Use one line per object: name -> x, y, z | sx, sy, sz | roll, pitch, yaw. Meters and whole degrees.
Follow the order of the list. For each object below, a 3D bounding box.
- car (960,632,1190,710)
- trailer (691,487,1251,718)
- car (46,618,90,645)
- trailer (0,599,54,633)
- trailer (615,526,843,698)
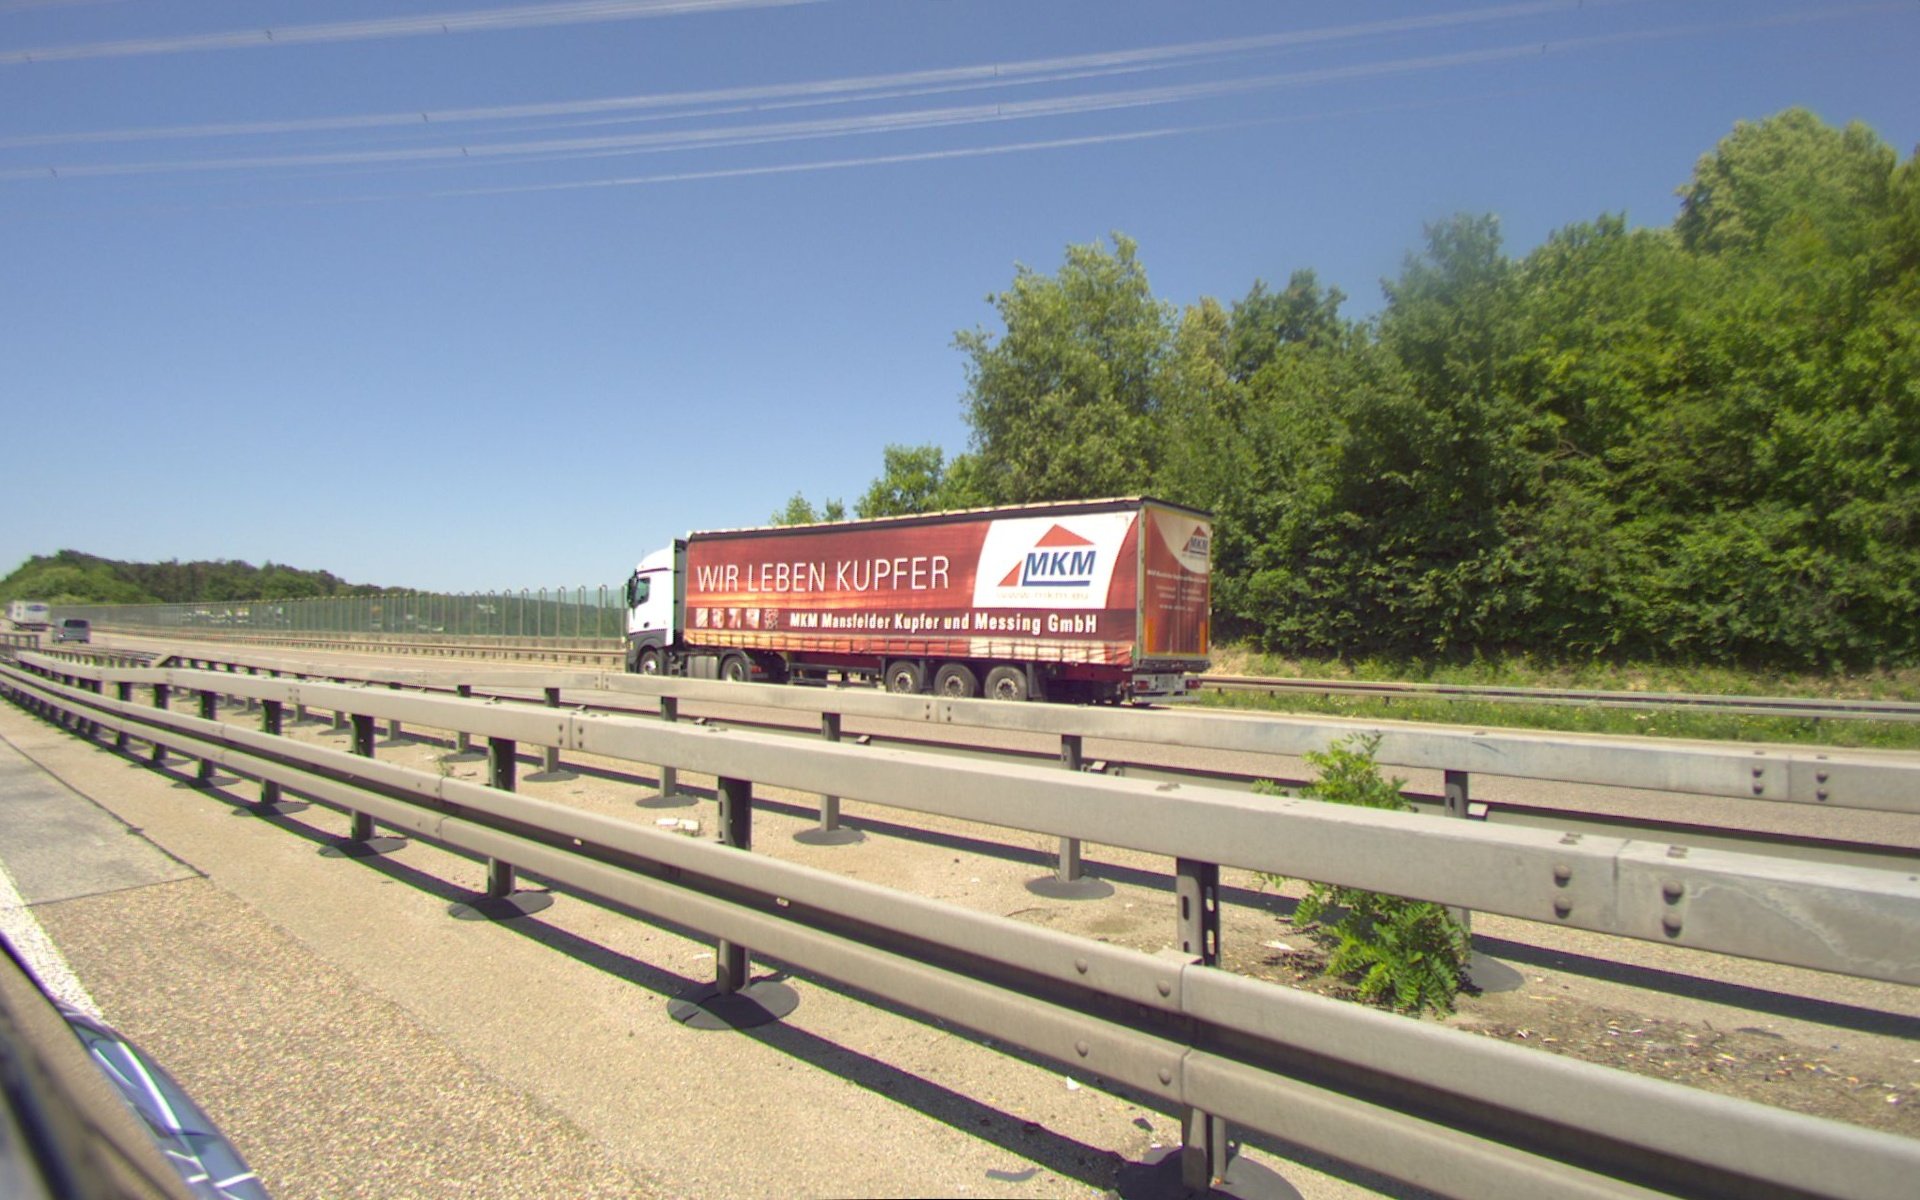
car -> 2.623, 1.631, 24.098 | 5.275, 1.588, 1.972 | -1, -4, 43
trailer -> -0.805, 0.215, 23.436 | 14.673, 4.006, 2.734 | -2, -1, 41
car -> -68.678, 2.365, 77.881 | 4.895, 1.955, 1.972 | -1, 0, 42
trailer -> -125.165, 2.209, 135.650 | 14.036, 4.268, 3.946 | -1, -3, 42
trailer -> -6.198, 0.403, 26.690 | 6.128, 4.007, 2.728 | -2, -4, 41
